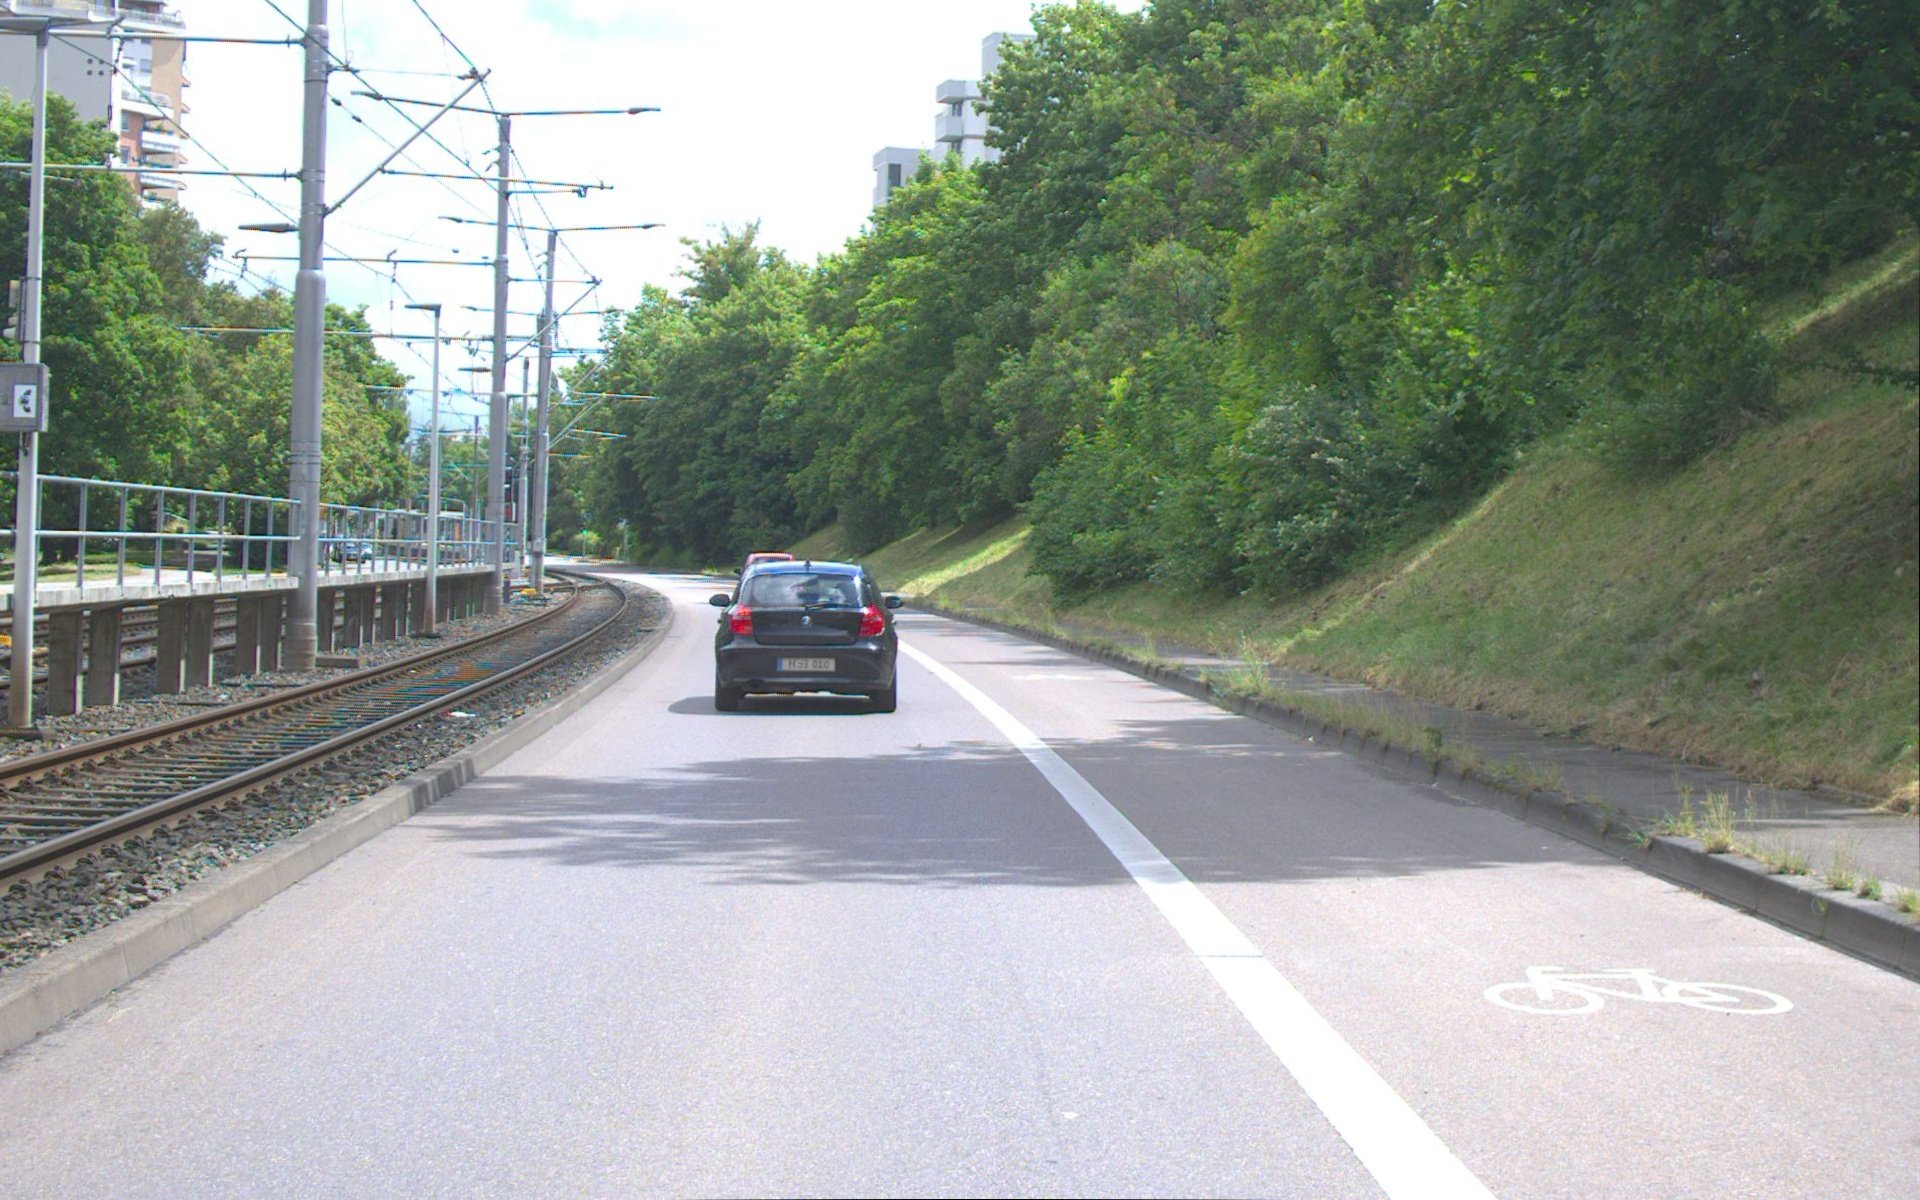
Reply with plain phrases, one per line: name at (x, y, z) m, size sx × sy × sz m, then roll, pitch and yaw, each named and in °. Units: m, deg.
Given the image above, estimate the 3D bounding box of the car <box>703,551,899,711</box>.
car at (-1.578, 0.261, 33.337) m, size 1.781 × 1.454 × 3.921 m, roll 0°, pitch 1°, yaw -4°

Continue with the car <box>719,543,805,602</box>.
car at (-5.129, -0.721, 88.788) m, size 1.781 × 1.454 × 3.922 m, roll 1°, pitch 1°, yaw -10°
